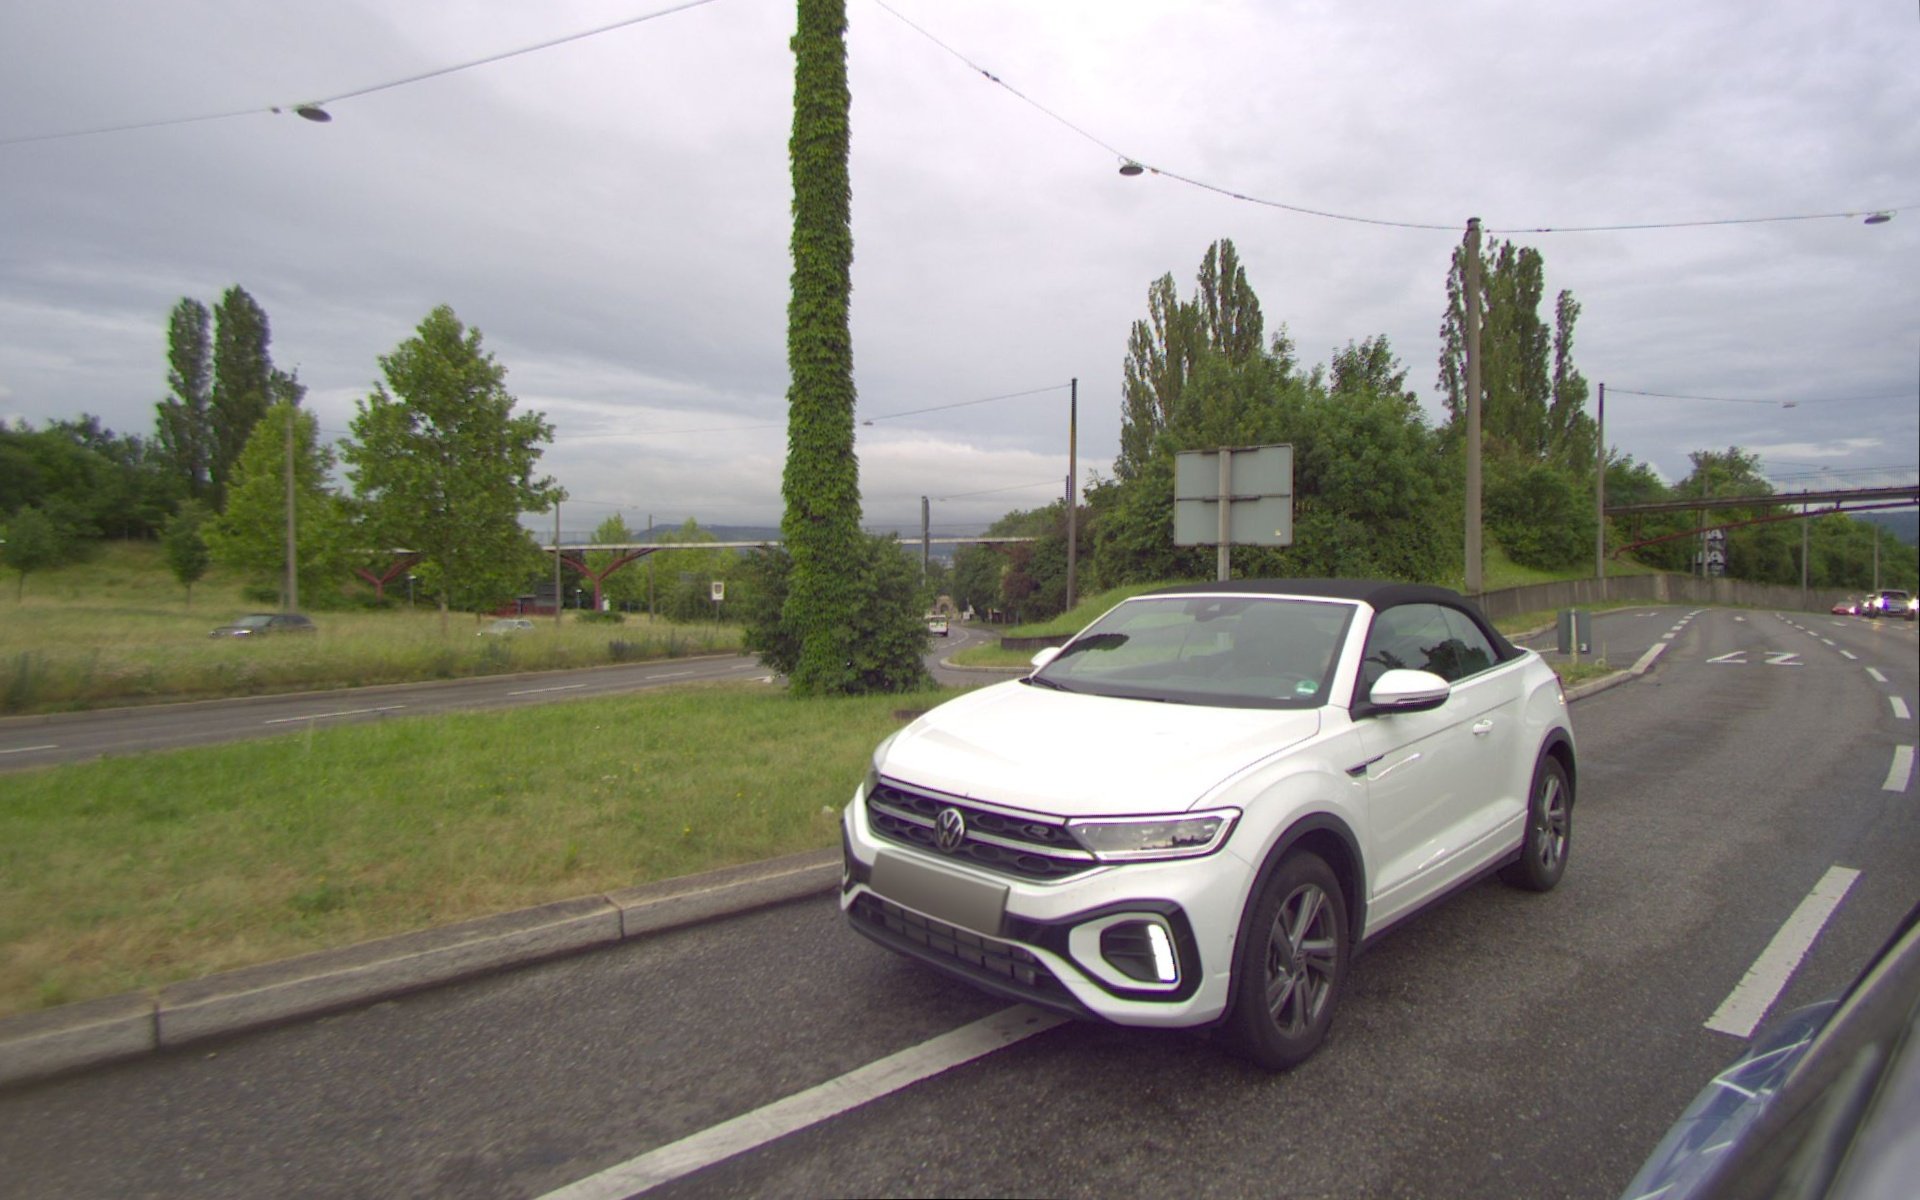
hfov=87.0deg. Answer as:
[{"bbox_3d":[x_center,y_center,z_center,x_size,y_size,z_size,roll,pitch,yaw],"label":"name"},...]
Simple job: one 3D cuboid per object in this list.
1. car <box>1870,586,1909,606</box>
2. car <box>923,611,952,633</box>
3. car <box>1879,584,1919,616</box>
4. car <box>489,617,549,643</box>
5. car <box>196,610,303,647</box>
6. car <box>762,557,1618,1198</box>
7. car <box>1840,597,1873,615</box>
[{"bbox_3d":[72.208,-0.302,78.648,1.934,1.496,3.942,-3,-2,40],"label":"car"},{"bbox_3d":[-1.962,1.970,90.243,1.965,1.872,4.815,-2,-1,5],"label":"car"},{"bbox_3d":[51.886,0.009,55.664,1.905,1.699,3.938,-3,-2,43],"label":"car"},{"bbox_3d":[-25.319,1.696,58.199,1.571,1.428,3.956,-2,-1,3],"label":"car"},{"bbox_3d":[-29.722,1.172,42.478,1.571,1.428,3.956,-2,-1,3],"label":"car"},{"bbox_3d":[1.369,0.616,4.534,4.159,1.572,1.715,-2,2,-43],"label":"car"},{"bbox_3d":[85.572,0.544,96.620,3.934,1.683,1.994,0,-2,-44],"label":"car"}]
